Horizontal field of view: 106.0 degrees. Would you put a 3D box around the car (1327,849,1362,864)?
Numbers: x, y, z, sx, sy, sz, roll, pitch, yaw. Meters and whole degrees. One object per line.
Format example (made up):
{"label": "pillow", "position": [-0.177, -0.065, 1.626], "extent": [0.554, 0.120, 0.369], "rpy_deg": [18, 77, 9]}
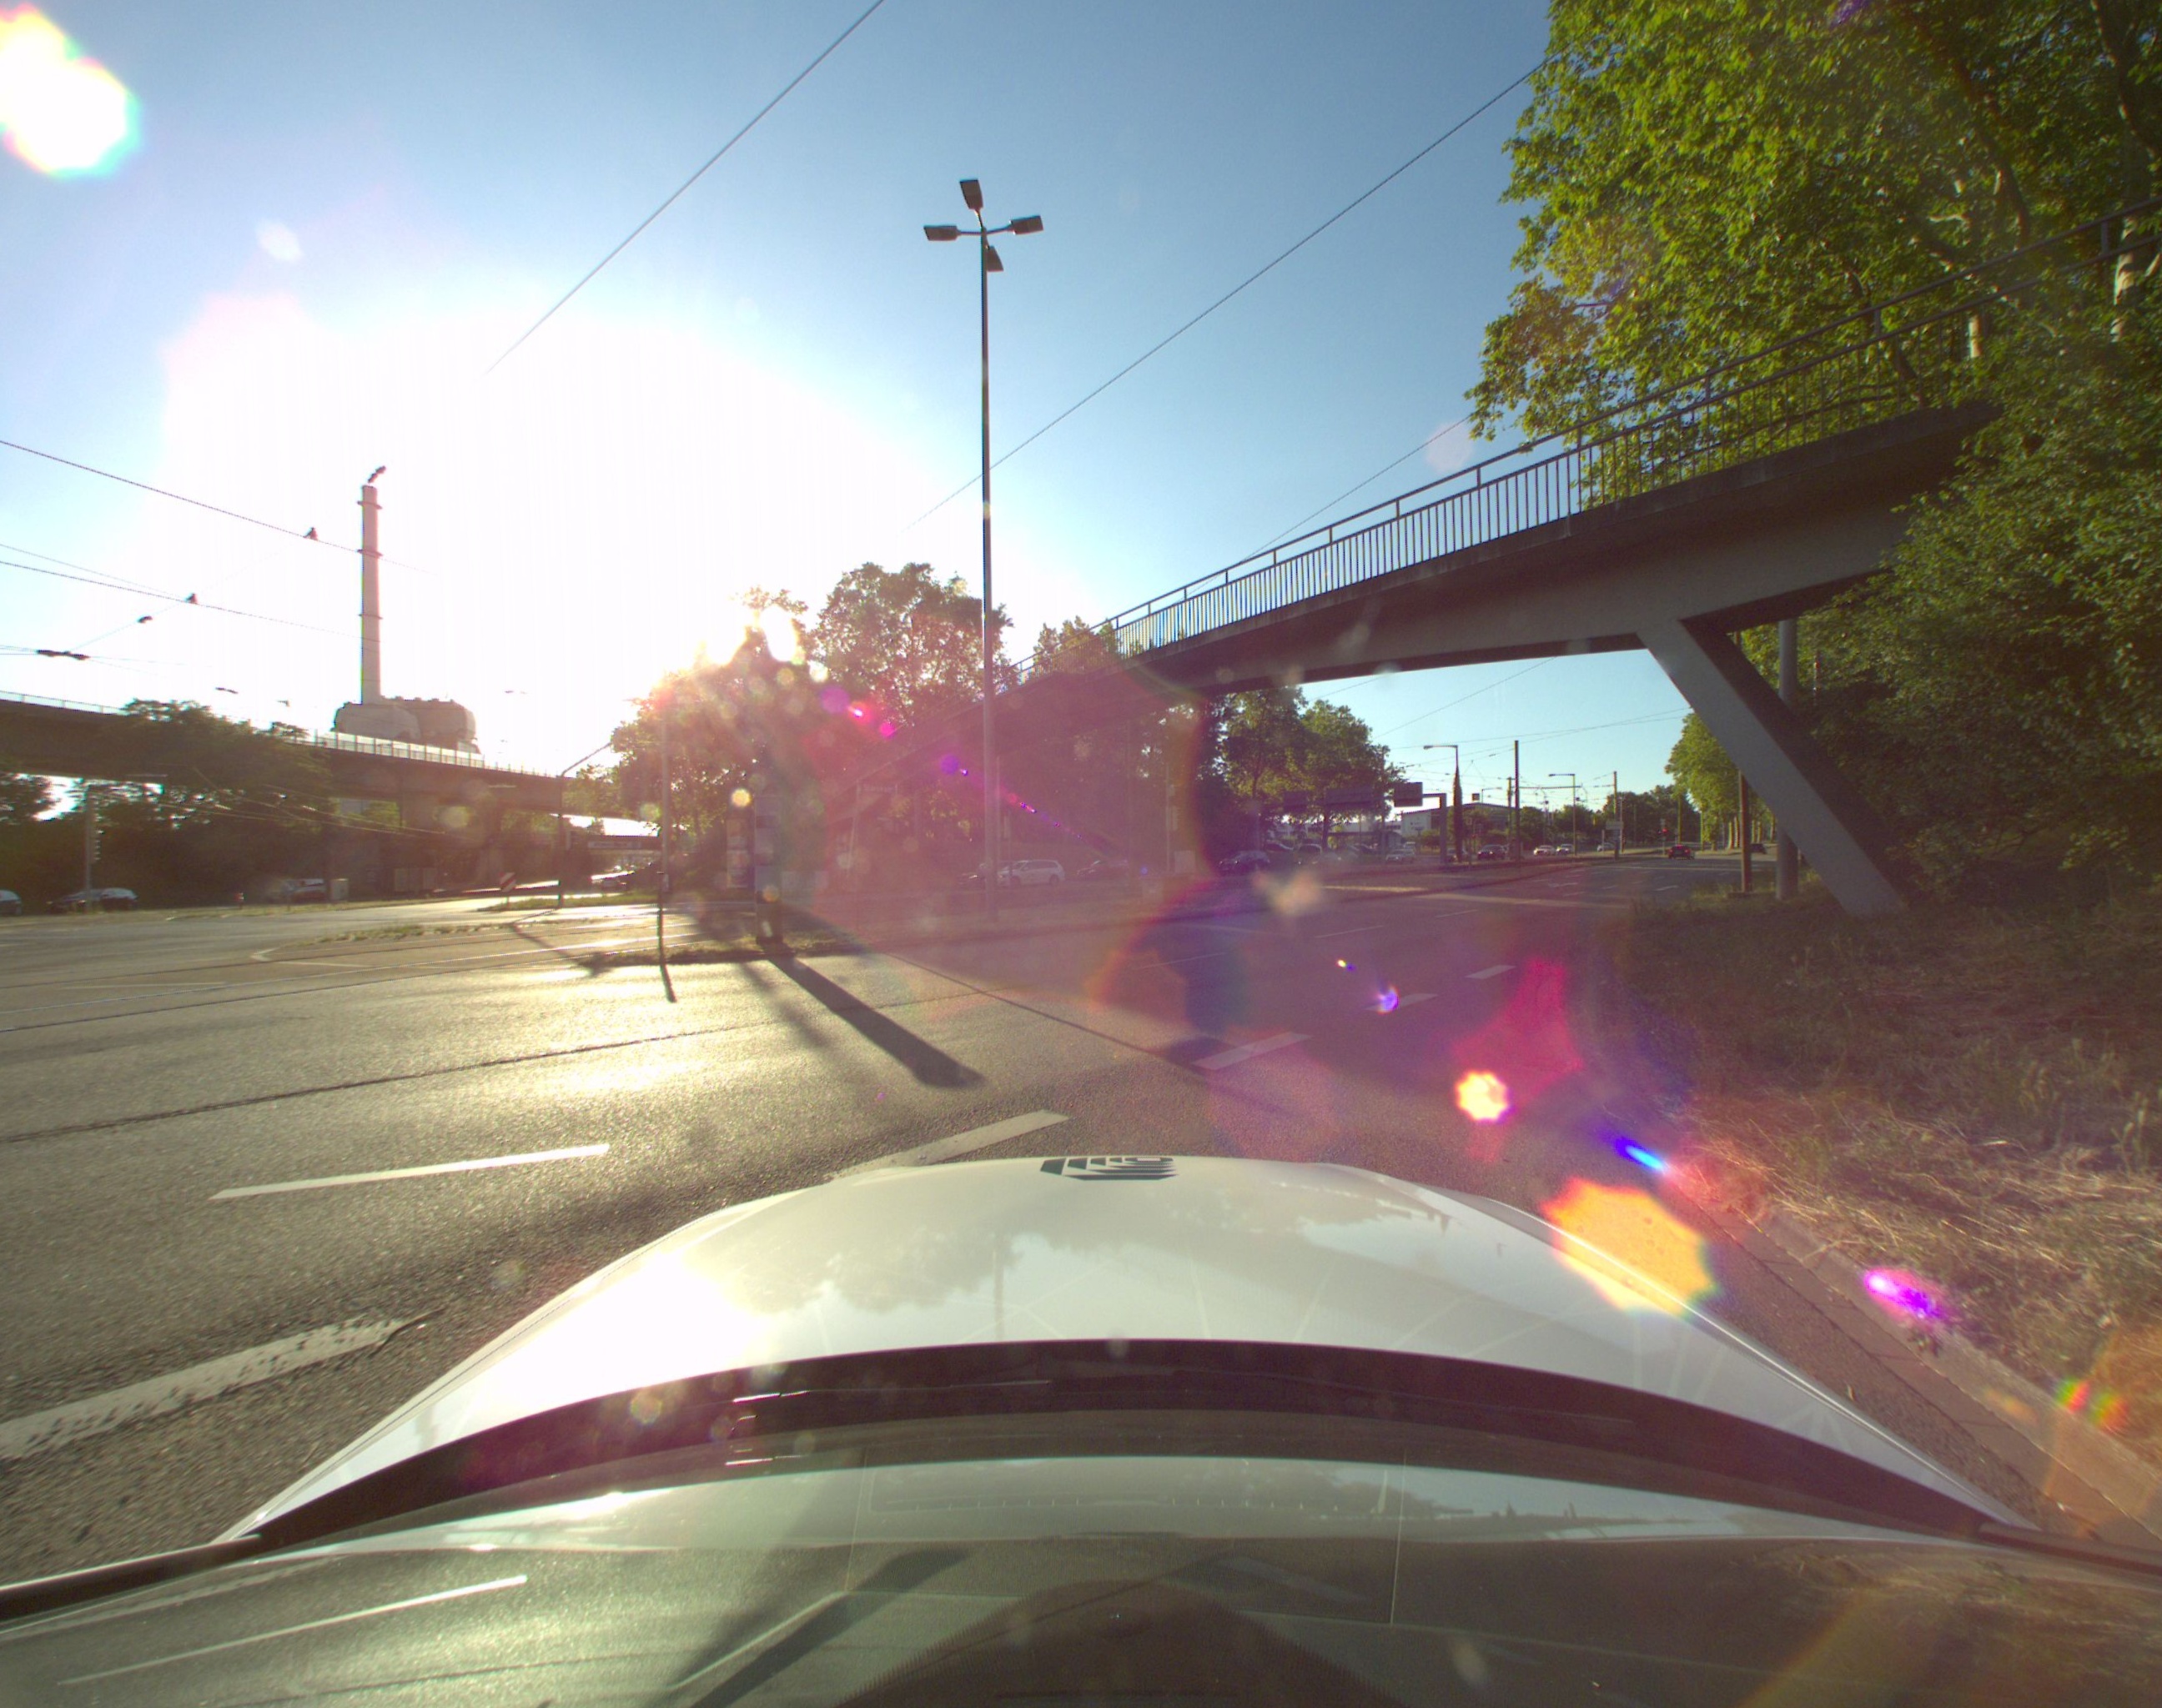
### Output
{"label": "car", "position": [26.572, 0.243, 82.073], "extent": [1.670, 1.416, 4.217], "rpy_deg": [0, 0, 43]}

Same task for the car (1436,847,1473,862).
{"label": "car", "position": [35.151, 0.027, 76.629], "extent": [4.042, 1.416, 1.821], "rpy_deg": [0, 0, -45]}

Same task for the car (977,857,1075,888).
{"label": "car", "position": [-2.744, 0.878, 41.525], "extent": [4.888, 1.443, 1.987], "rpy_deg": [0, 0, -45]}

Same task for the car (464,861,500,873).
{"label": "car", "position": [-88.487, 1.932, 120.273], "extent": [1.982, 1.771, 4.008], "rpy_deg": [0, -1, 8]}

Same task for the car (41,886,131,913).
{"label": "car", "position": [-58.880, 2.677, 48.283], "extent": [1.707, 1.442, 3.968], "rpy_deg": [0, -1, -24]}

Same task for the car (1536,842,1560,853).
{"label": "car", "position": [63.069, -0.842, 109.995], "extent": [1.821, 1.416, 4.628], "rpy_deg": [-1, 0, 42]}

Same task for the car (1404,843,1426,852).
{"label": "car", "position": [53.918, -1.112, 131.356], "extent": [4.023, 1.442, 1.825], "rpy_deg": [-1, 1, -43]}

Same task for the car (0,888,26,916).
{"label": "car", "position": [-56.946, 2.528, 41.780], "extent": [1.707, 1.442, 3.968], "rpy_deg": [0, -1, -24]}

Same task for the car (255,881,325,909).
{"label": "car", "position": [-64.747, 3.294, 66.786], "extent": [2.000, 2.014, 5.390], "rpy_deg": [-1, 0, -19]}

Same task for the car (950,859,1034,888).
{"label": "car", "position": [-4.855, 1.042, 44.653], "extent": [4.278, 1.443, 1.987], "rpy_deg": [0, 0, -45]}

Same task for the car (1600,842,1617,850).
{"label": "car", "position": [88.729, -1.331, 136.845], "extent": [1.638, 1.416, 4.284], "rpy_deg": [0, 1, 44]}

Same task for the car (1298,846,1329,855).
{"label": "car", "position": [34.789, -0.557, 121.890], "extent": [1.794, 1.387, 4.018], "rpy_deg": [-1, 1, -44]}

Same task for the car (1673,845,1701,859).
{"label": "car", "position": [62.073, -0.198, 83.348], "extent": [1.776, 1.403, 3.710], "rpy_deg": [-1, -1, 45]}

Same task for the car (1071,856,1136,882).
{"label": "car", "position": [1.586, 1.020, 56.007], "extent": [4.380, 1.651, 1.775], "rpy_deg": [0, -1, -41]}

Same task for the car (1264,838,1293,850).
{"label": "car", "position": [30.559, -1.494, 126.049], "extent": [2.011, 1.859, 3.951], "rpy_deg": [-1, 1, -43]}

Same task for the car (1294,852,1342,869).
{"label": "car", "position": [18.671, 0.499, 64.021], "extent": [4.334, 1.310, 1.671], "rpy_deg": [0, 0, -44]}

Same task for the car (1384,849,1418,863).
{"label": "car", "position": [32.682, 0.198, 83.037], "extent": [1.671, 1.416, 4.464], "rpy_deg": [0, 0, 44]}

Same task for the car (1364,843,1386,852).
{"label": "car", "position": [49.108, -1.110, 135.793], "extent": [4.023, 1.442, 1.825], "rpy_deg": [-1, 1, -43]}

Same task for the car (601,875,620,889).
{"label": "car", "position": [-57.701, 3.463, 100.007], "extent": [1.720, 1.652, 4.183], "rpy_deg": [0, -1, -26]}

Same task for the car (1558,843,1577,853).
{"label": "car", "position": [72.287, -0.913, 121.058], "extent": [1.638, 1.416, 4.285], "rpy_deg": [0, 1, 42]}

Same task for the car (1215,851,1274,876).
{"label": "car", "position": [11.196, 0.613, 55.593], "extent": [4.382, 1.650, 1.774], "rpy_deg": [0, 0, -45]}

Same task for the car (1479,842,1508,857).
{"label": "car", "position": [47.048, -0.508, 92.782], "extent": [1.821, 1.654, 4.463], "rpy_deg": [1, 1, 43]}
